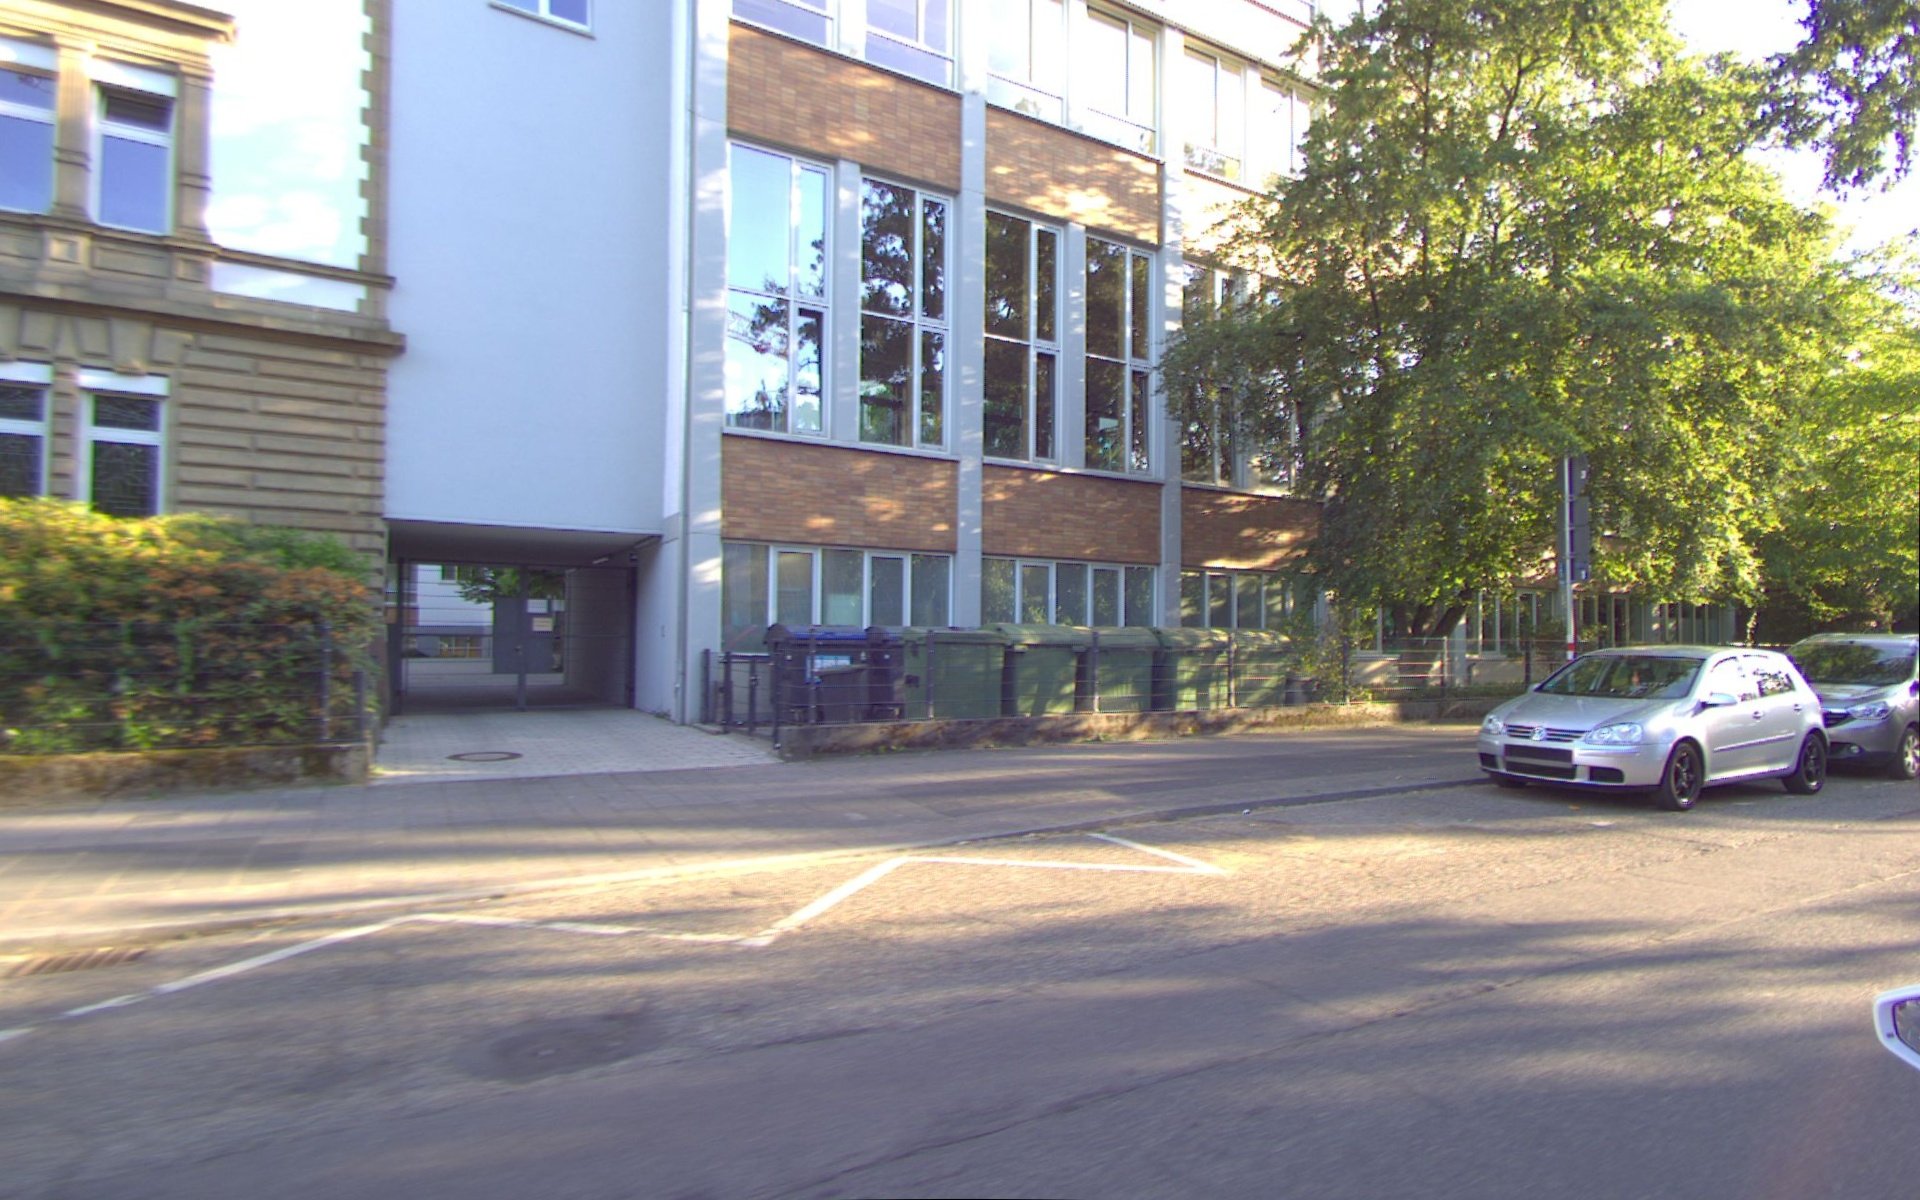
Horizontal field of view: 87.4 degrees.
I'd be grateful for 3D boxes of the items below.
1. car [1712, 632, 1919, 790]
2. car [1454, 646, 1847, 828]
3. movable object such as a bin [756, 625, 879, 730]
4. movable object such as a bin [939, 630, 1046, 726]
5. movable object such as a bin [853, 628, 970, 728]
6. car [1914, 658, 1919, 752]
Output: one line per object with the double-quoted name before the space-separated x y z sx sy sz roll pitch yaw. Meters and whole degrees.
"car" 11.690 1.311 12.875 4.288 1.730 1.672 1 -3 -30
"car" 7.020 1.237 10.148 4.012 1.513 1.664 1 -3 -30
"movable object such as a bin" -2.094 1.106 14.698 1.499 1.449 1.095 2 -2 -26
"movable object such as a bin" 0.513 1.210 16.028 1.354 1.449 1.095 2 -2 -26
"movable object such as a bin" -0.749 1.160 15.387 1.466 1.449 1.095 2 -2 -26
"car" 17.090 1.651 16.004 3.835 1.476 1.672 1 -3 -29
